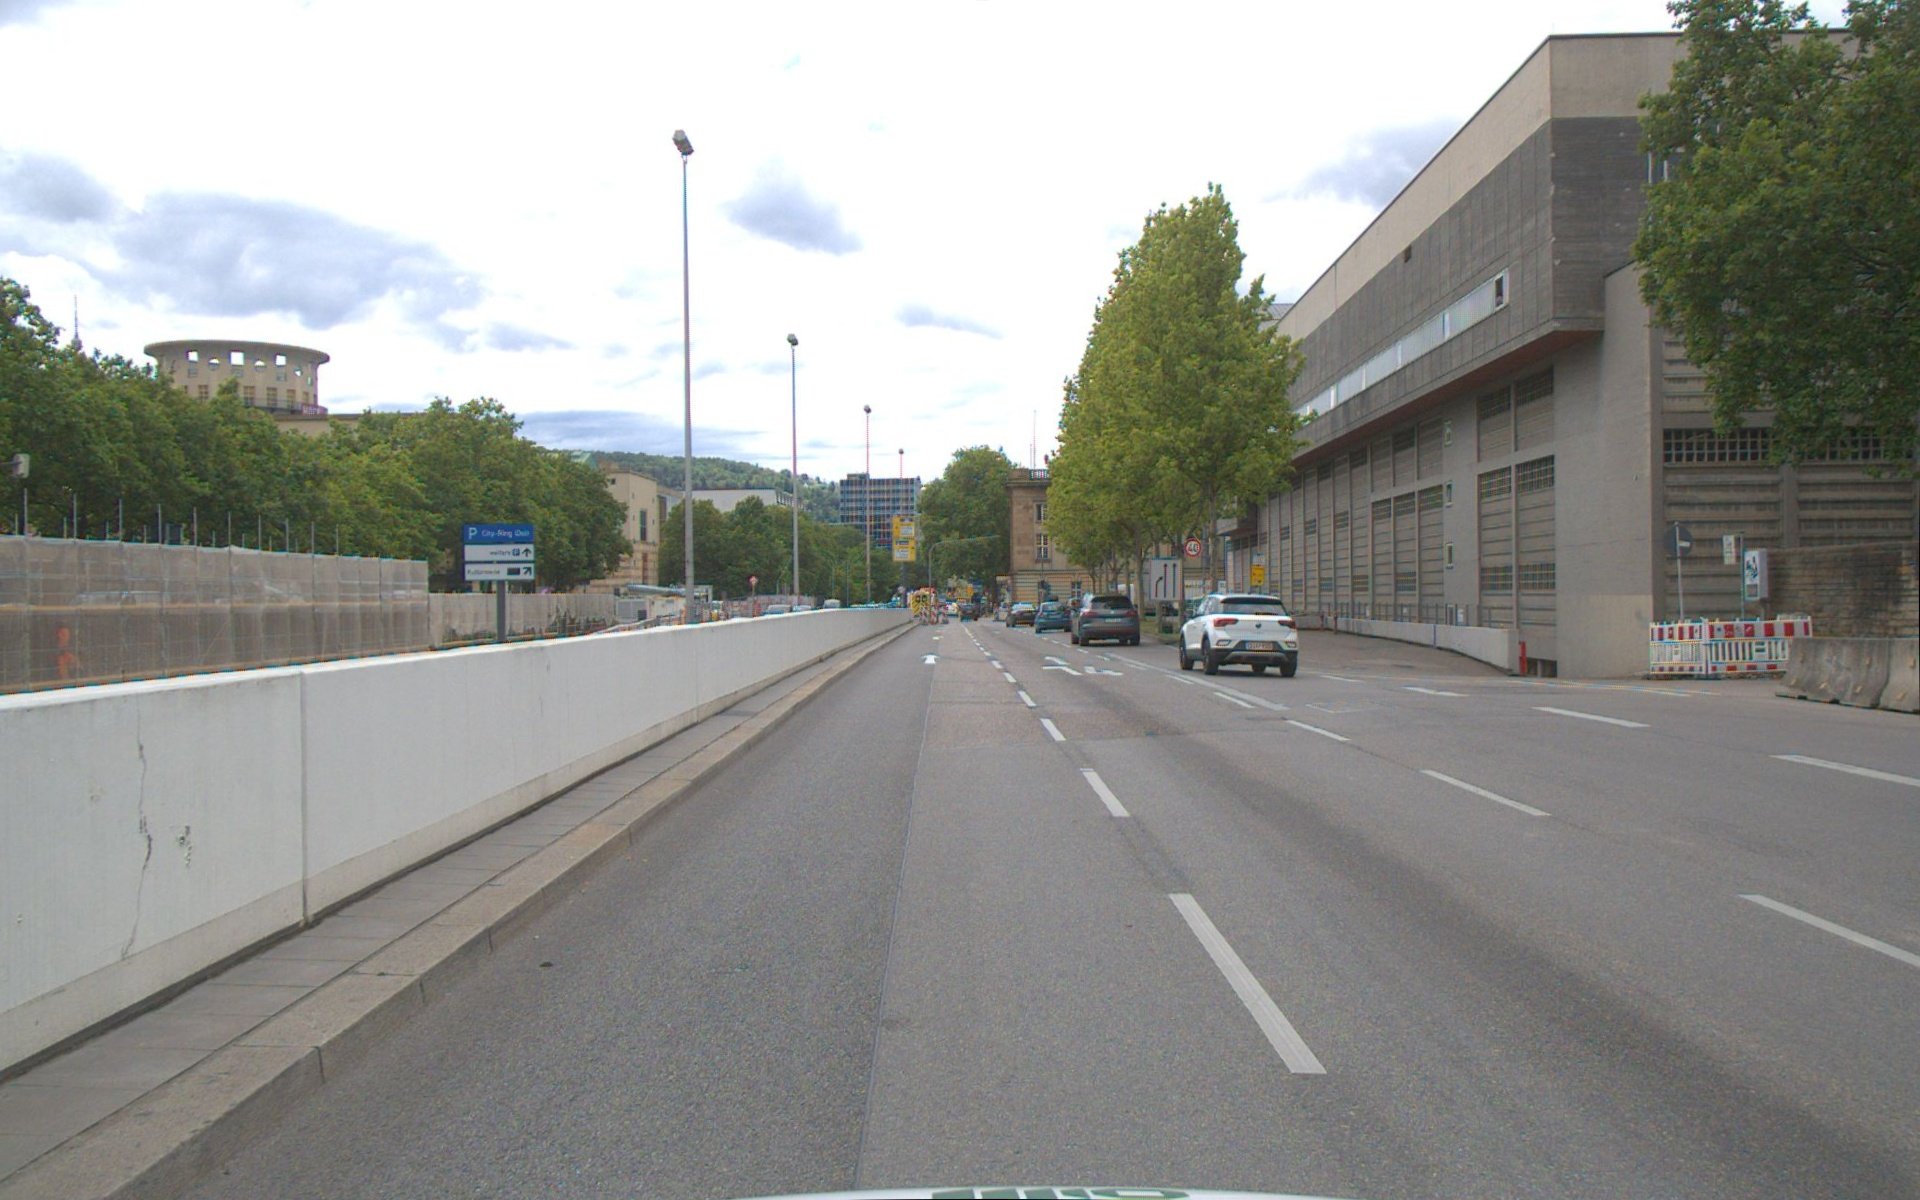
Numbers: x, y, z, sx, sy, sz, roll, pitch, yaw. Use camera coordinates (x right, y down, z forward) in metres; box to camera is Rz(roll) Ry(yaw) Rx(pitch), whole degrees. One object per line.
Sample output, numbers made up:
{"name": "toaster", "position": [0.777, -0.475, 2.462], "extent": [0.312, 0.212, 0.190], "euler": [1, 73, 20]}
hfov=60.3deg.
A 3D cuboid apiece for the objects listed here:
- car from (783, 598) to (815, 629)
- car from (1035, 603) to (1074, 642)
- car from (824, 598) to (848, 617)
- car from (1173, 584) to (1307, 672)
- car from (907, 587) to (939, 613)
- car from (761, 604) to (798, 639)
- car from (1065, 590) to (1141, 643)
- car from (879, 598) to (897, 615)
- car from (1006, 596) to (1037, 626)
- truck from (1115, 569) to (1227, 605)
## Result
{"name": "car", "position": [-11.765, 0.974, 120.803], "extent": [1.953, 2.048, 4.000], "euler": [-1, 1, -1]}
{"name": "car", "position": [4.634, 1.076, 80.852], "extent": [1.785, 1.771, 4.482], "euler": [-1, 0, 5]}
{"name": "car", "position": [-11.217, 0.707, 149.787], "extent": [1.715, 1.595, 3.377], "euler": [-3, 0, 1]}
{"name": "car", "position": [5.511, 0.562, 33.062], "extent": [1.716, 1.595, 4.328], "euler": [2, -1, -3]}
{"name": "car", "position": [-3.604, 0.013, 161.409], "extent": [2.528, 2.416, 5.529], "euler": [-1, 0, 4]}
{"name": "car", "position": [-11.697, 1.365, 107.136], "extent": [1.953, 2.048, 4.000], "euler": [-1, 1, -1]}
{"name": "car", "position": [4.618, 0.498, 54.147], "extent": [1.787, 1.595, 4.476], "euler": [-1, 1, -4]}
{"name": "car", "position": [-7.073, 0.651, 161.833], "extent": [1.716, 1.595, 4.328], "euler": [0, -1, -3]}
{"name": "car", "position": [3.947, 0.685, 105.547], "extent": [1.785, 1.771, 4.482], "euler": [-1, 0, 5]}
{"name": "truck", "position": [19.079, -1.166, 149.911], "extent": [9.823, 3.104, 2.569], "euler": [-1, -1, 0]}
